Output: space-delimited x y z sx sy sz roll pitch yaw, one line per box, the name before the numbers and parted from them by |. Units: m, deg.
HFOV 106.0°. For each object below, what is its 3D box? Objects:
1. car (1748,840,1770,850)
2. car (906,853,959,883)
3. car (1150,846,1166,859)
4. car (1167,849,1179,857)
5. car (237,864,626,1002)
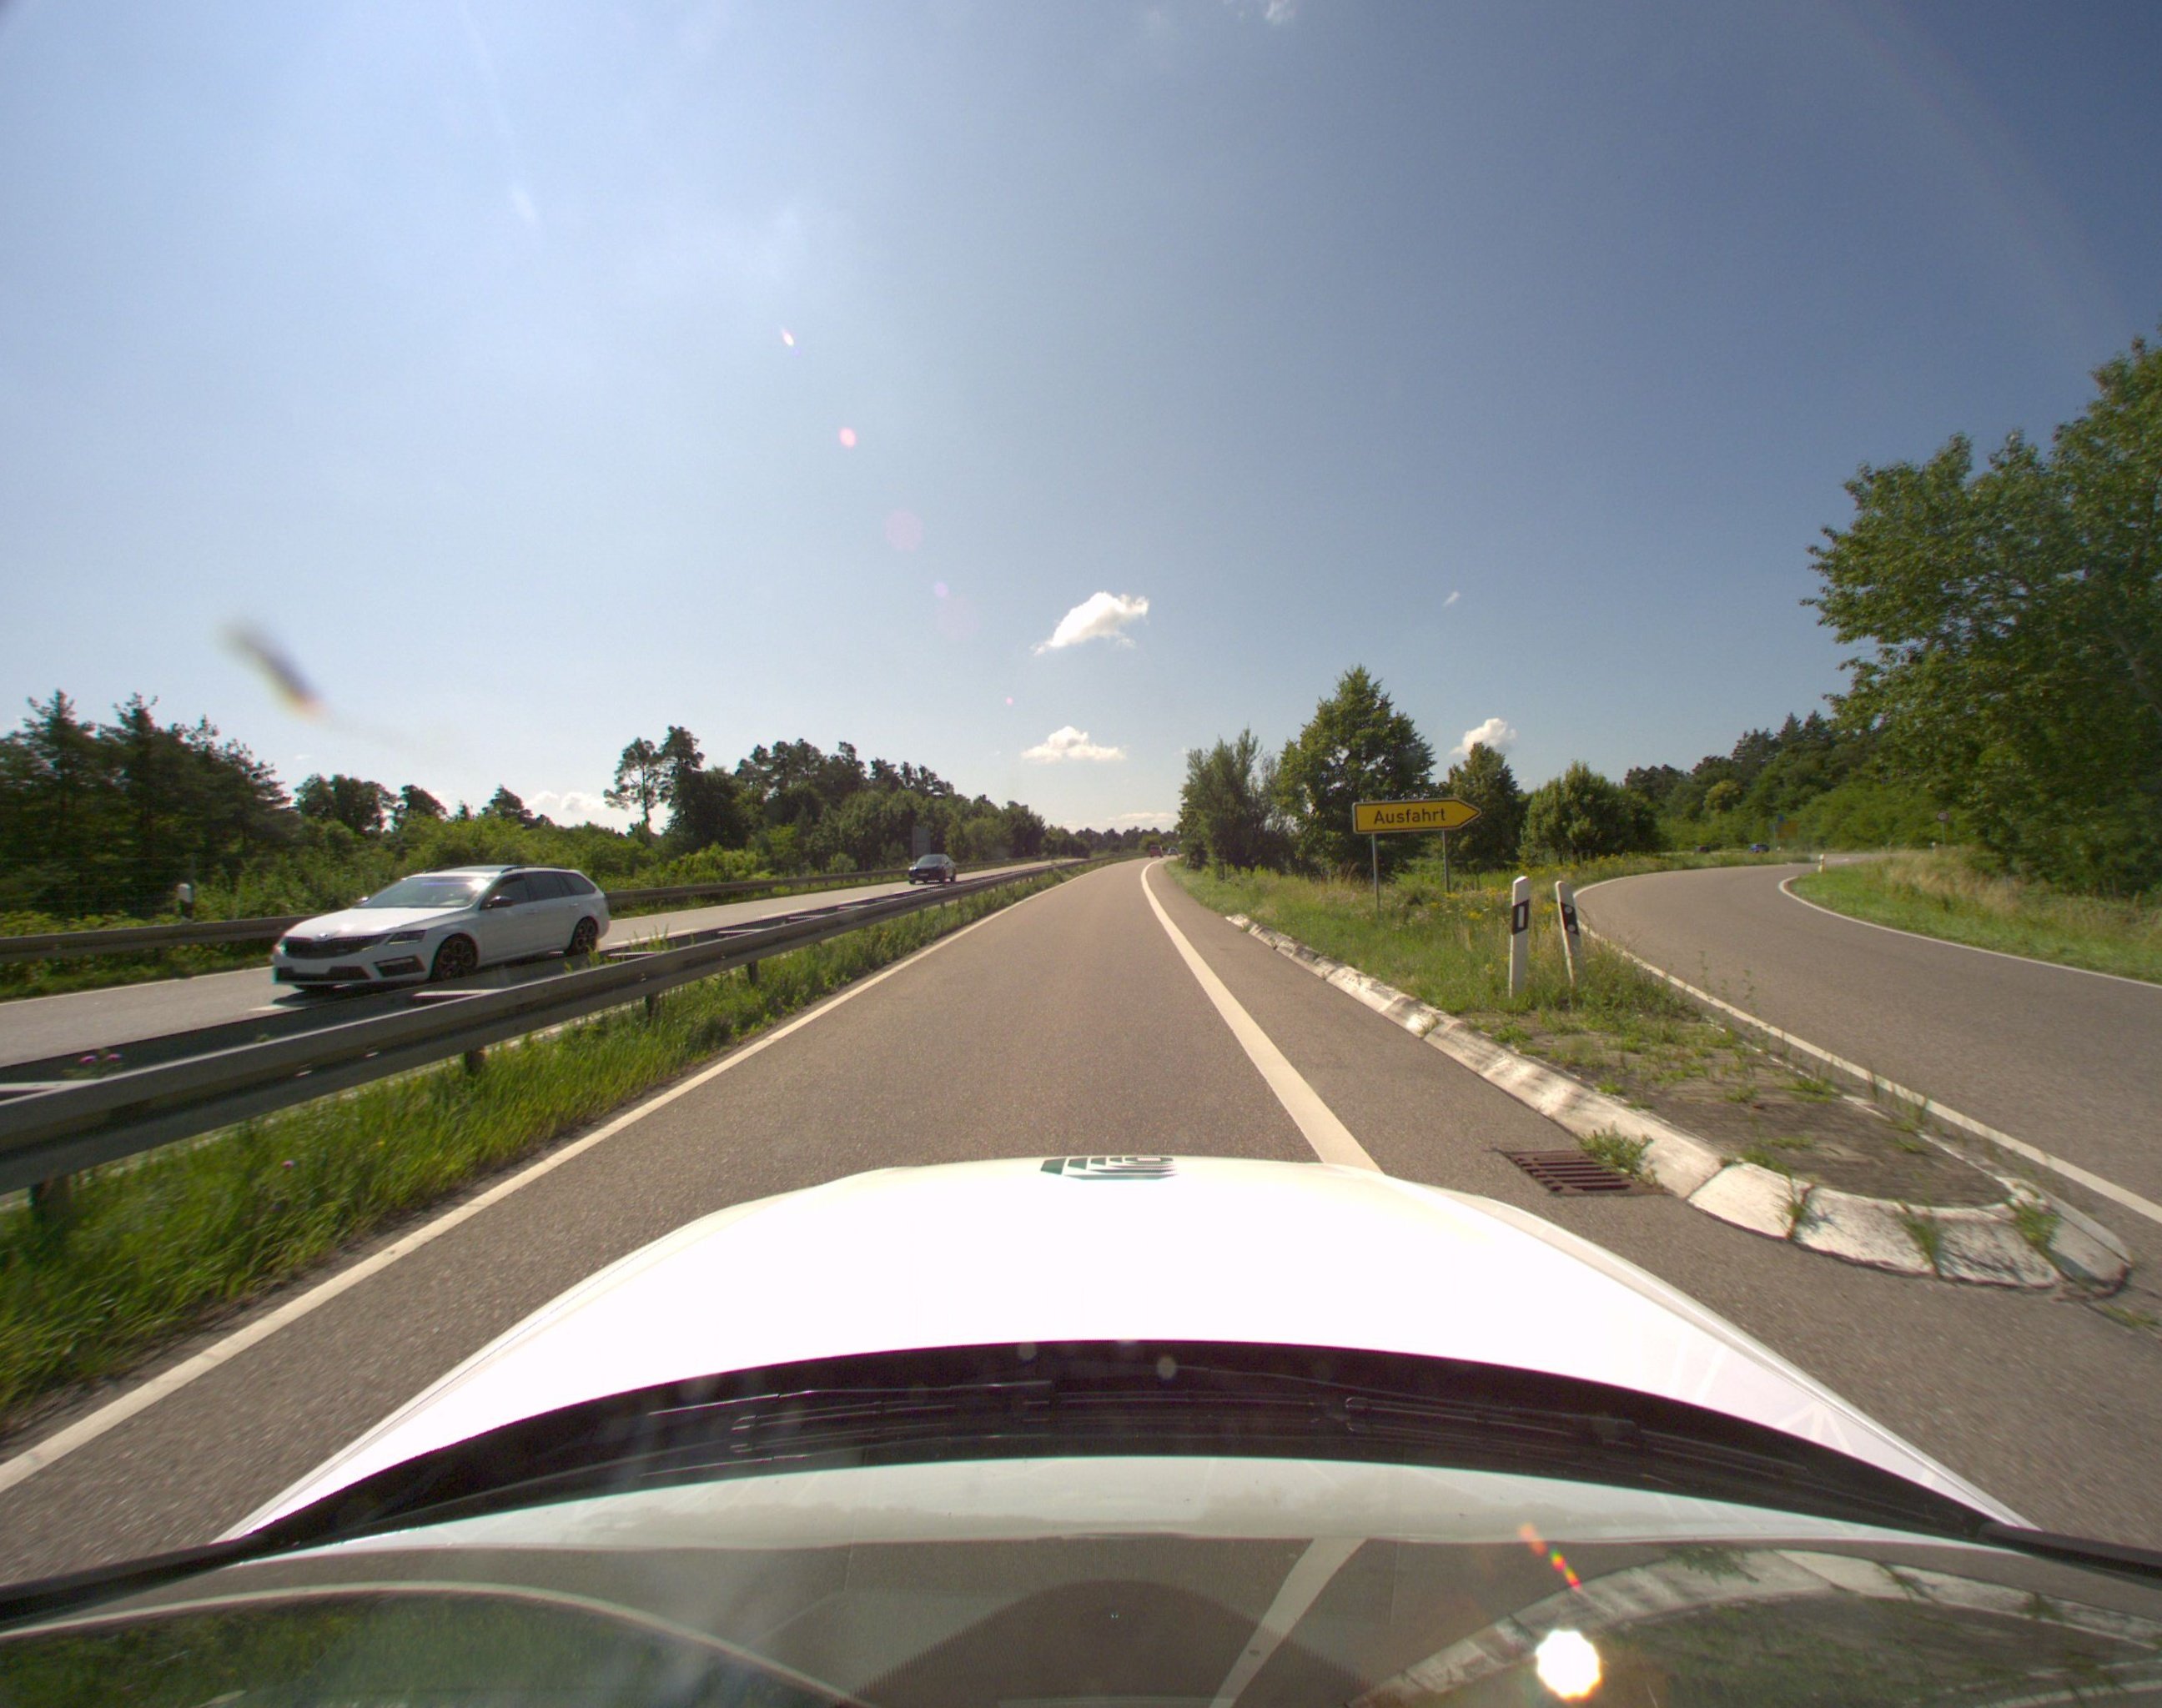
car | 95.094 -1.283 114.275 1.483 1.354 3.217 -1 -1 23
car | -7.883 0.725 43.642 1.748 1.501 4.577 -1 0 2
car | 12.537 -0.274 132.504 2.065 1.993 5.125 -1 -1 10
car | 17.683 -0.204 156.858 1.995 1.494 4.250 -1 -1 9
car | -8.541 0.911 11.408 1.789 1.444 4.604 -1 0 -1
